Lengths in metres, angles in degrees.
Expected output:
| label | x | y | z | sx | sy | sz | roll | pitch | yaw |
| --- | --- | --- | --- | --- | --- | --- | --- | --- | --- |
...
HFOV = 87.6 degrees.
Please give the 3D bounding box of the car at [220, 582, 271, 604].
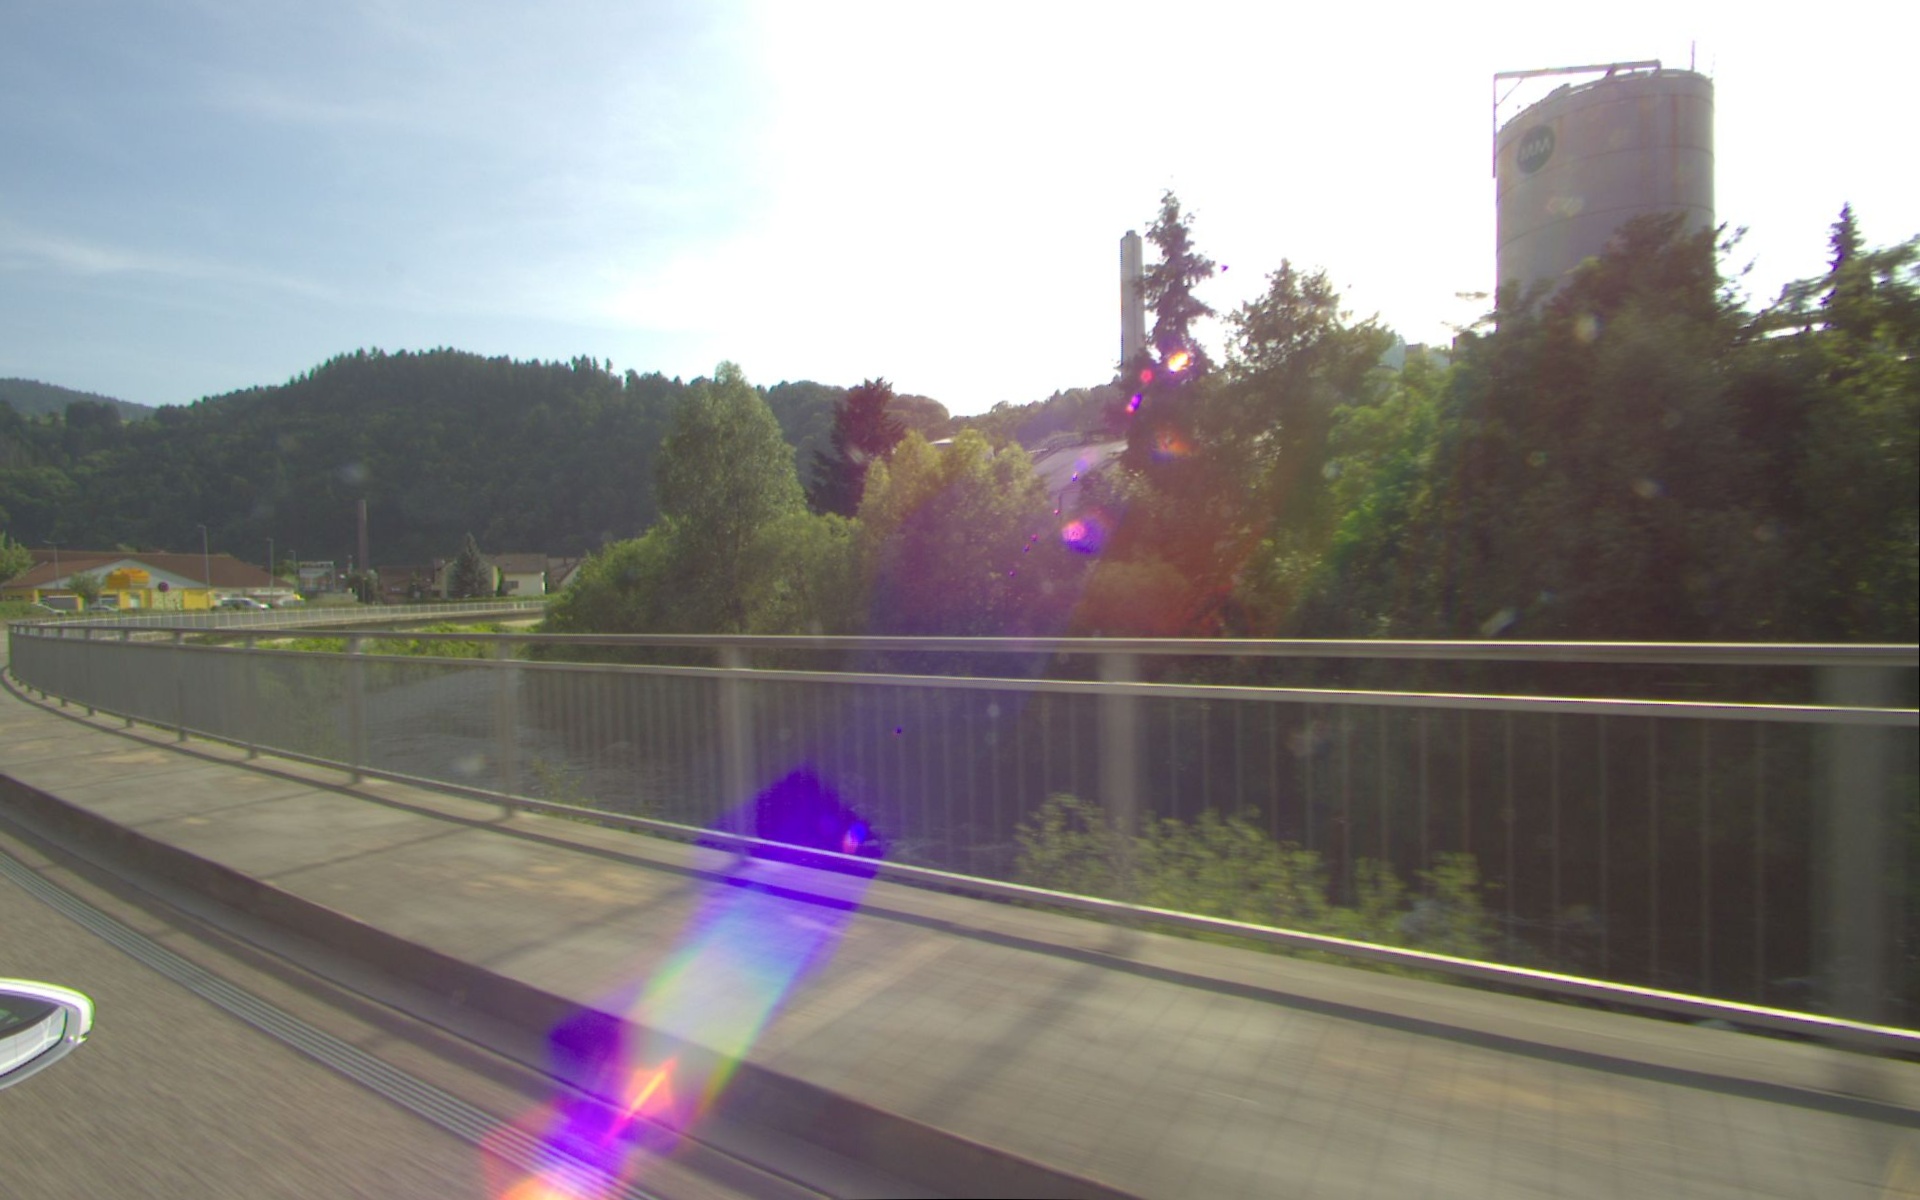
| label | x | y | z | sx | sy | sz | roll | pitch | yaw |
| --- | --- | --- | --- | --- | --- | --- | --- | --- | --- |
| car | -75.632 | -0.724 | 106.052 | 3.926 | 2.038 | 2.000 | 0 | -4 | -13 |
